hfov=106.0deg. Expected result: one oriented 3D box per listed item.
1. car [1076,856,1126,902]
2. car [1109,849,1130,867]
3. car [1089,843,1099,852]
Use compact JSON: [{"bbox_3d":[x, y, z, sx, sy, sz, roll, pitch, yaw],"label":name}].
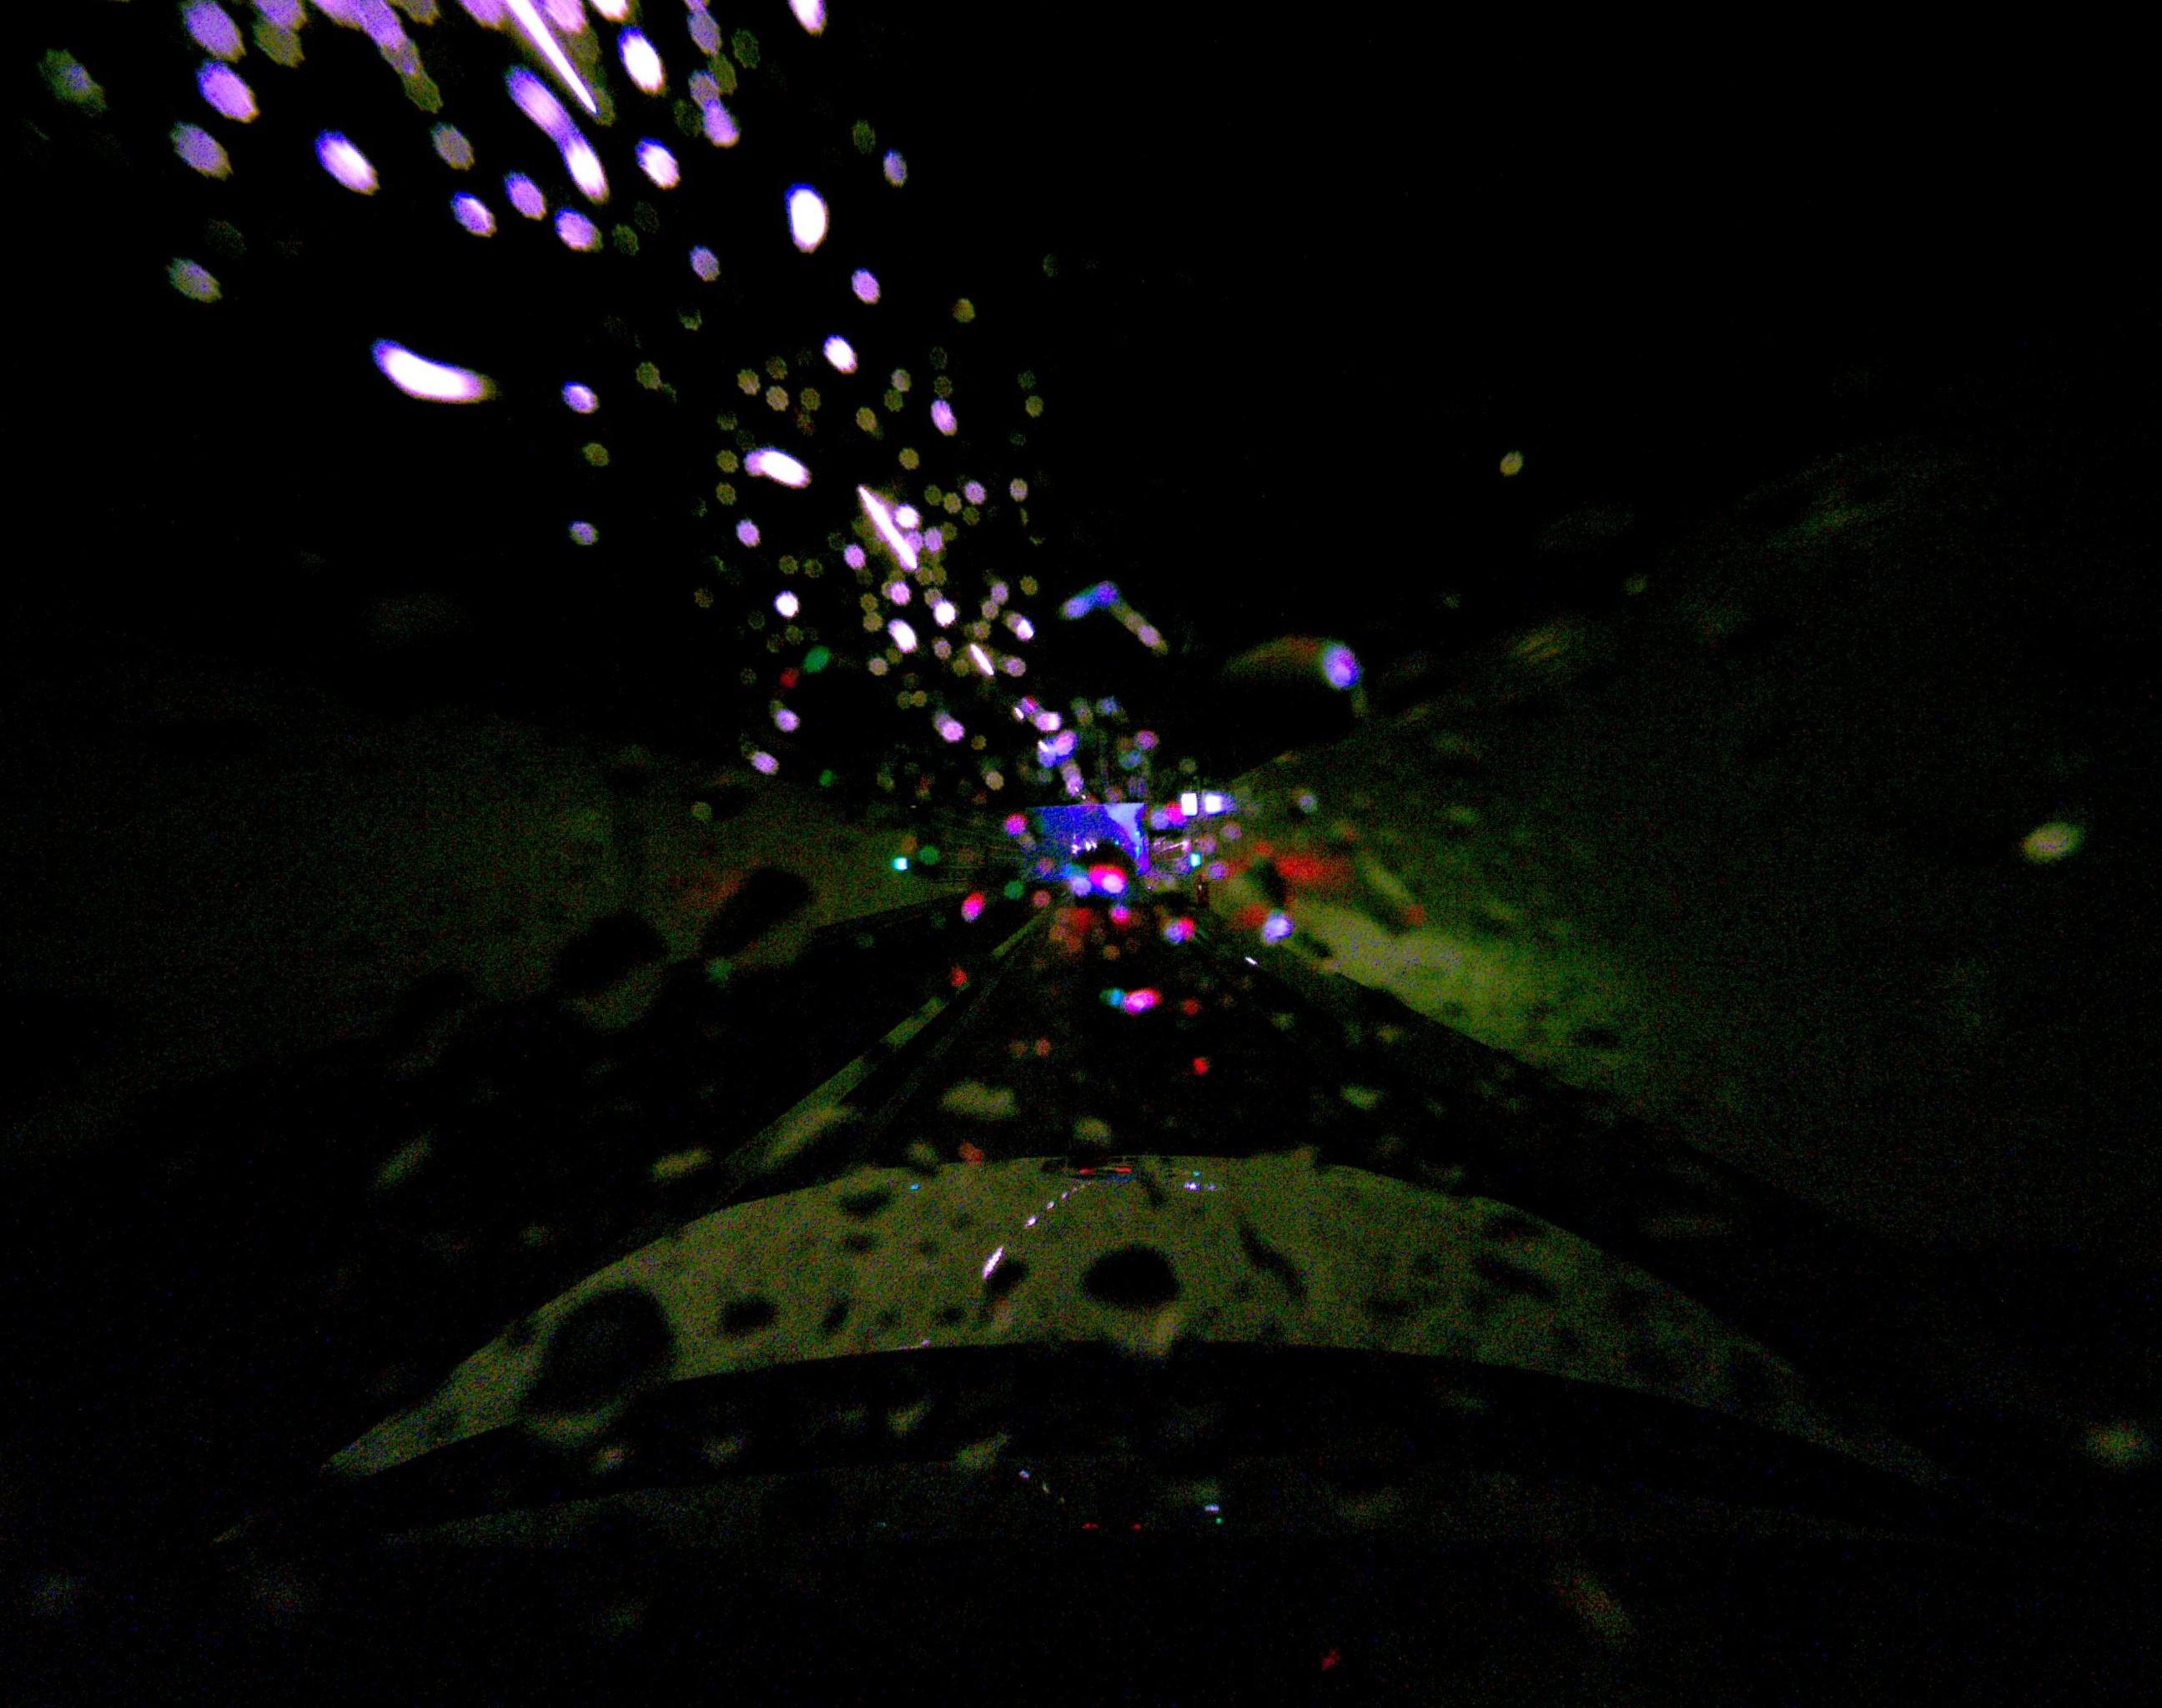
[{"bbox_3d":[0.657,0.797,26.881,1.526,1.397,3.434,-1,-1,1],"label":"car"},{"bbox_3d":[3.495,0.376,74.466,1.873,1.621,4.001,0,-2,2],"label":"car"},{"bbox_3d":[2.791,-1.326,170.888,1.872,1.621,4.004,0,-2,4],"label":"car"}]
